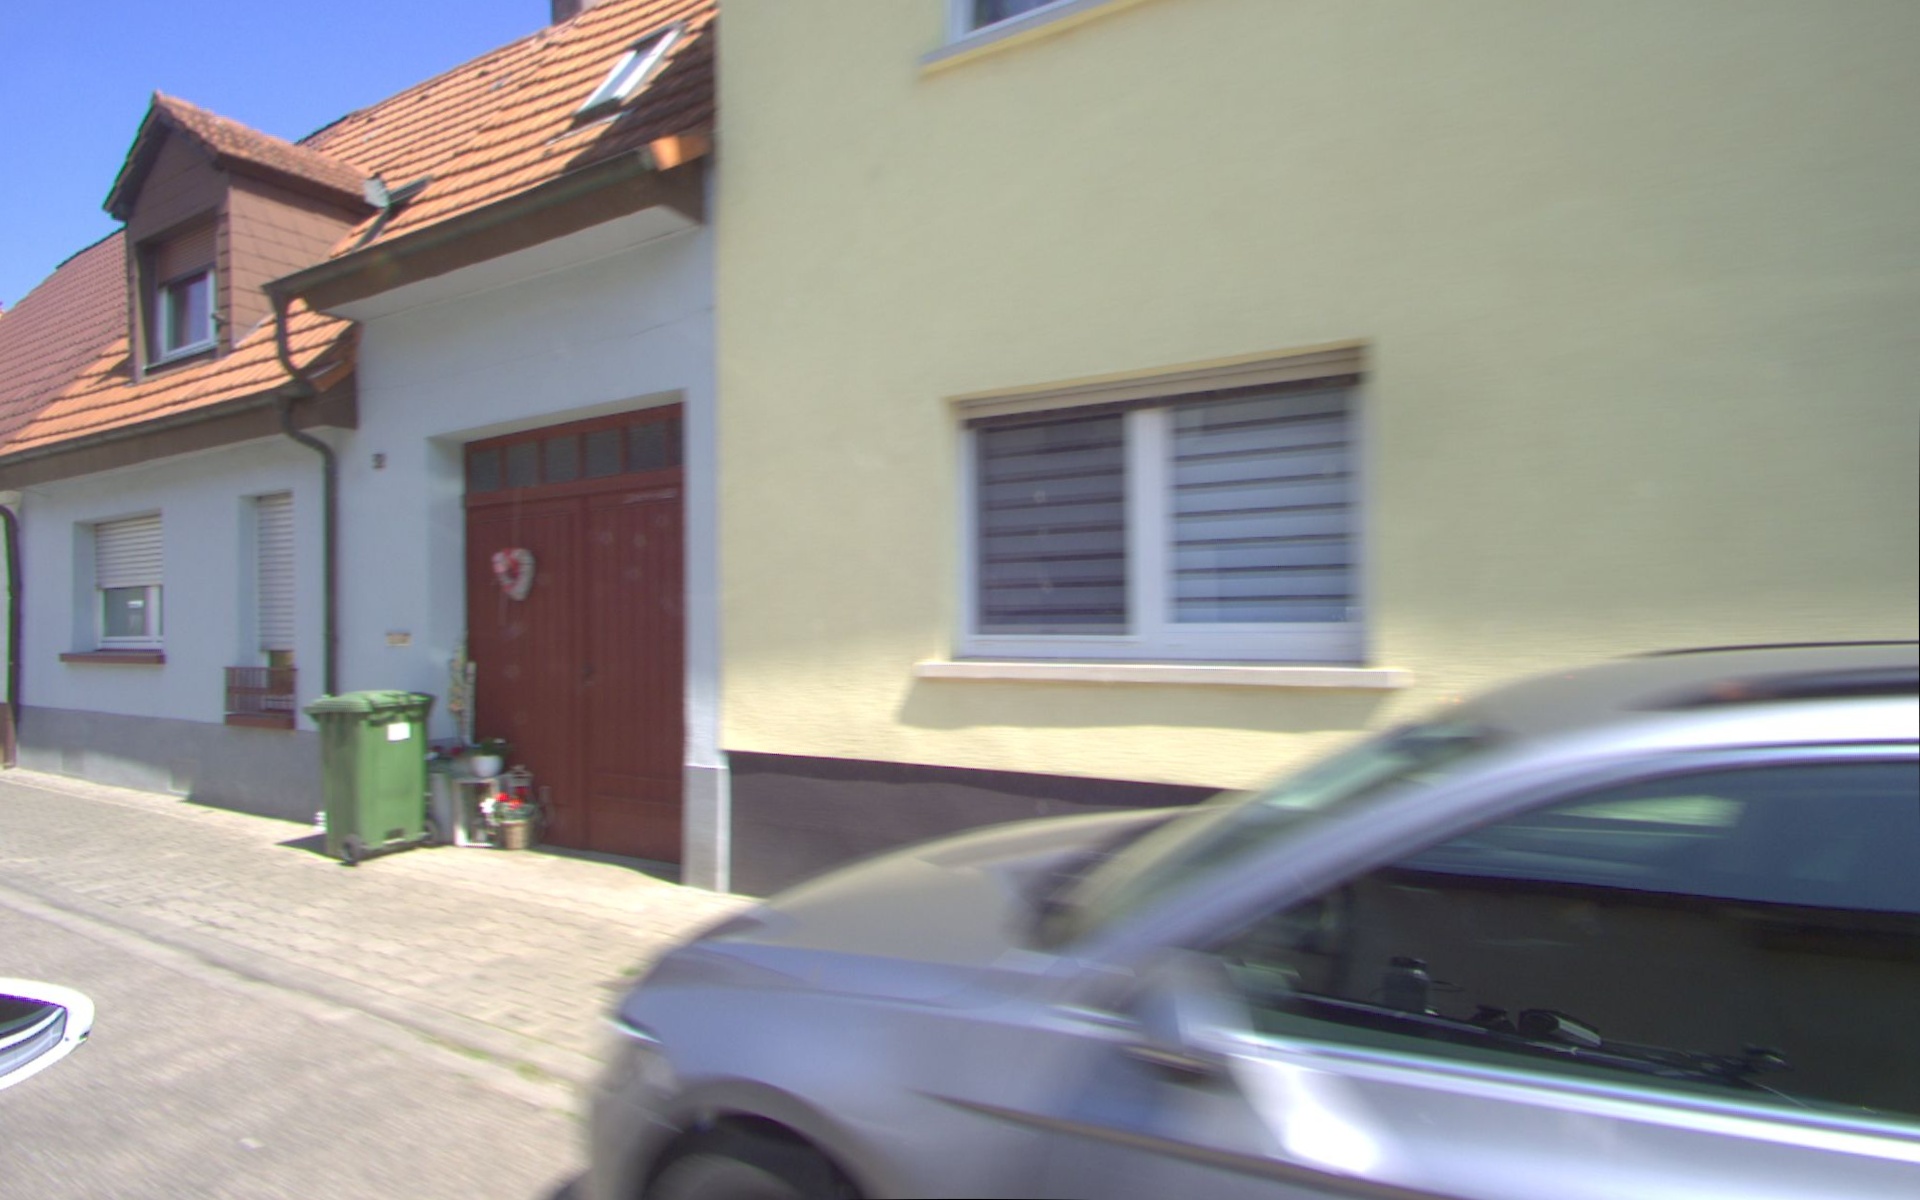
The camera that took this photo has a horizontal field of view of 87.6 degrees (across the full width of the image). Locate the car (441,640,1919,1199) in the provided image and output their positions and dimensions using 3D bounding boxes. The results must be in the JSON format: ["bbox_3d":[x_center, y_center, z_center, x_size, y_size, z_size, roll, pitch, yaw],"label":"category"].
[{"bbox_3d":[1.480,0.802,1.581,4.704,1.466,1.837,-1,-2,30],"label":"car"}]

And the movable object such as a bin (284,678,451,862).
[{"bbox_3d":[-3.958,1.091,6.700,0.800,1.085,0.658,0,-1,29],"label":"movable object such as a bin"}]
